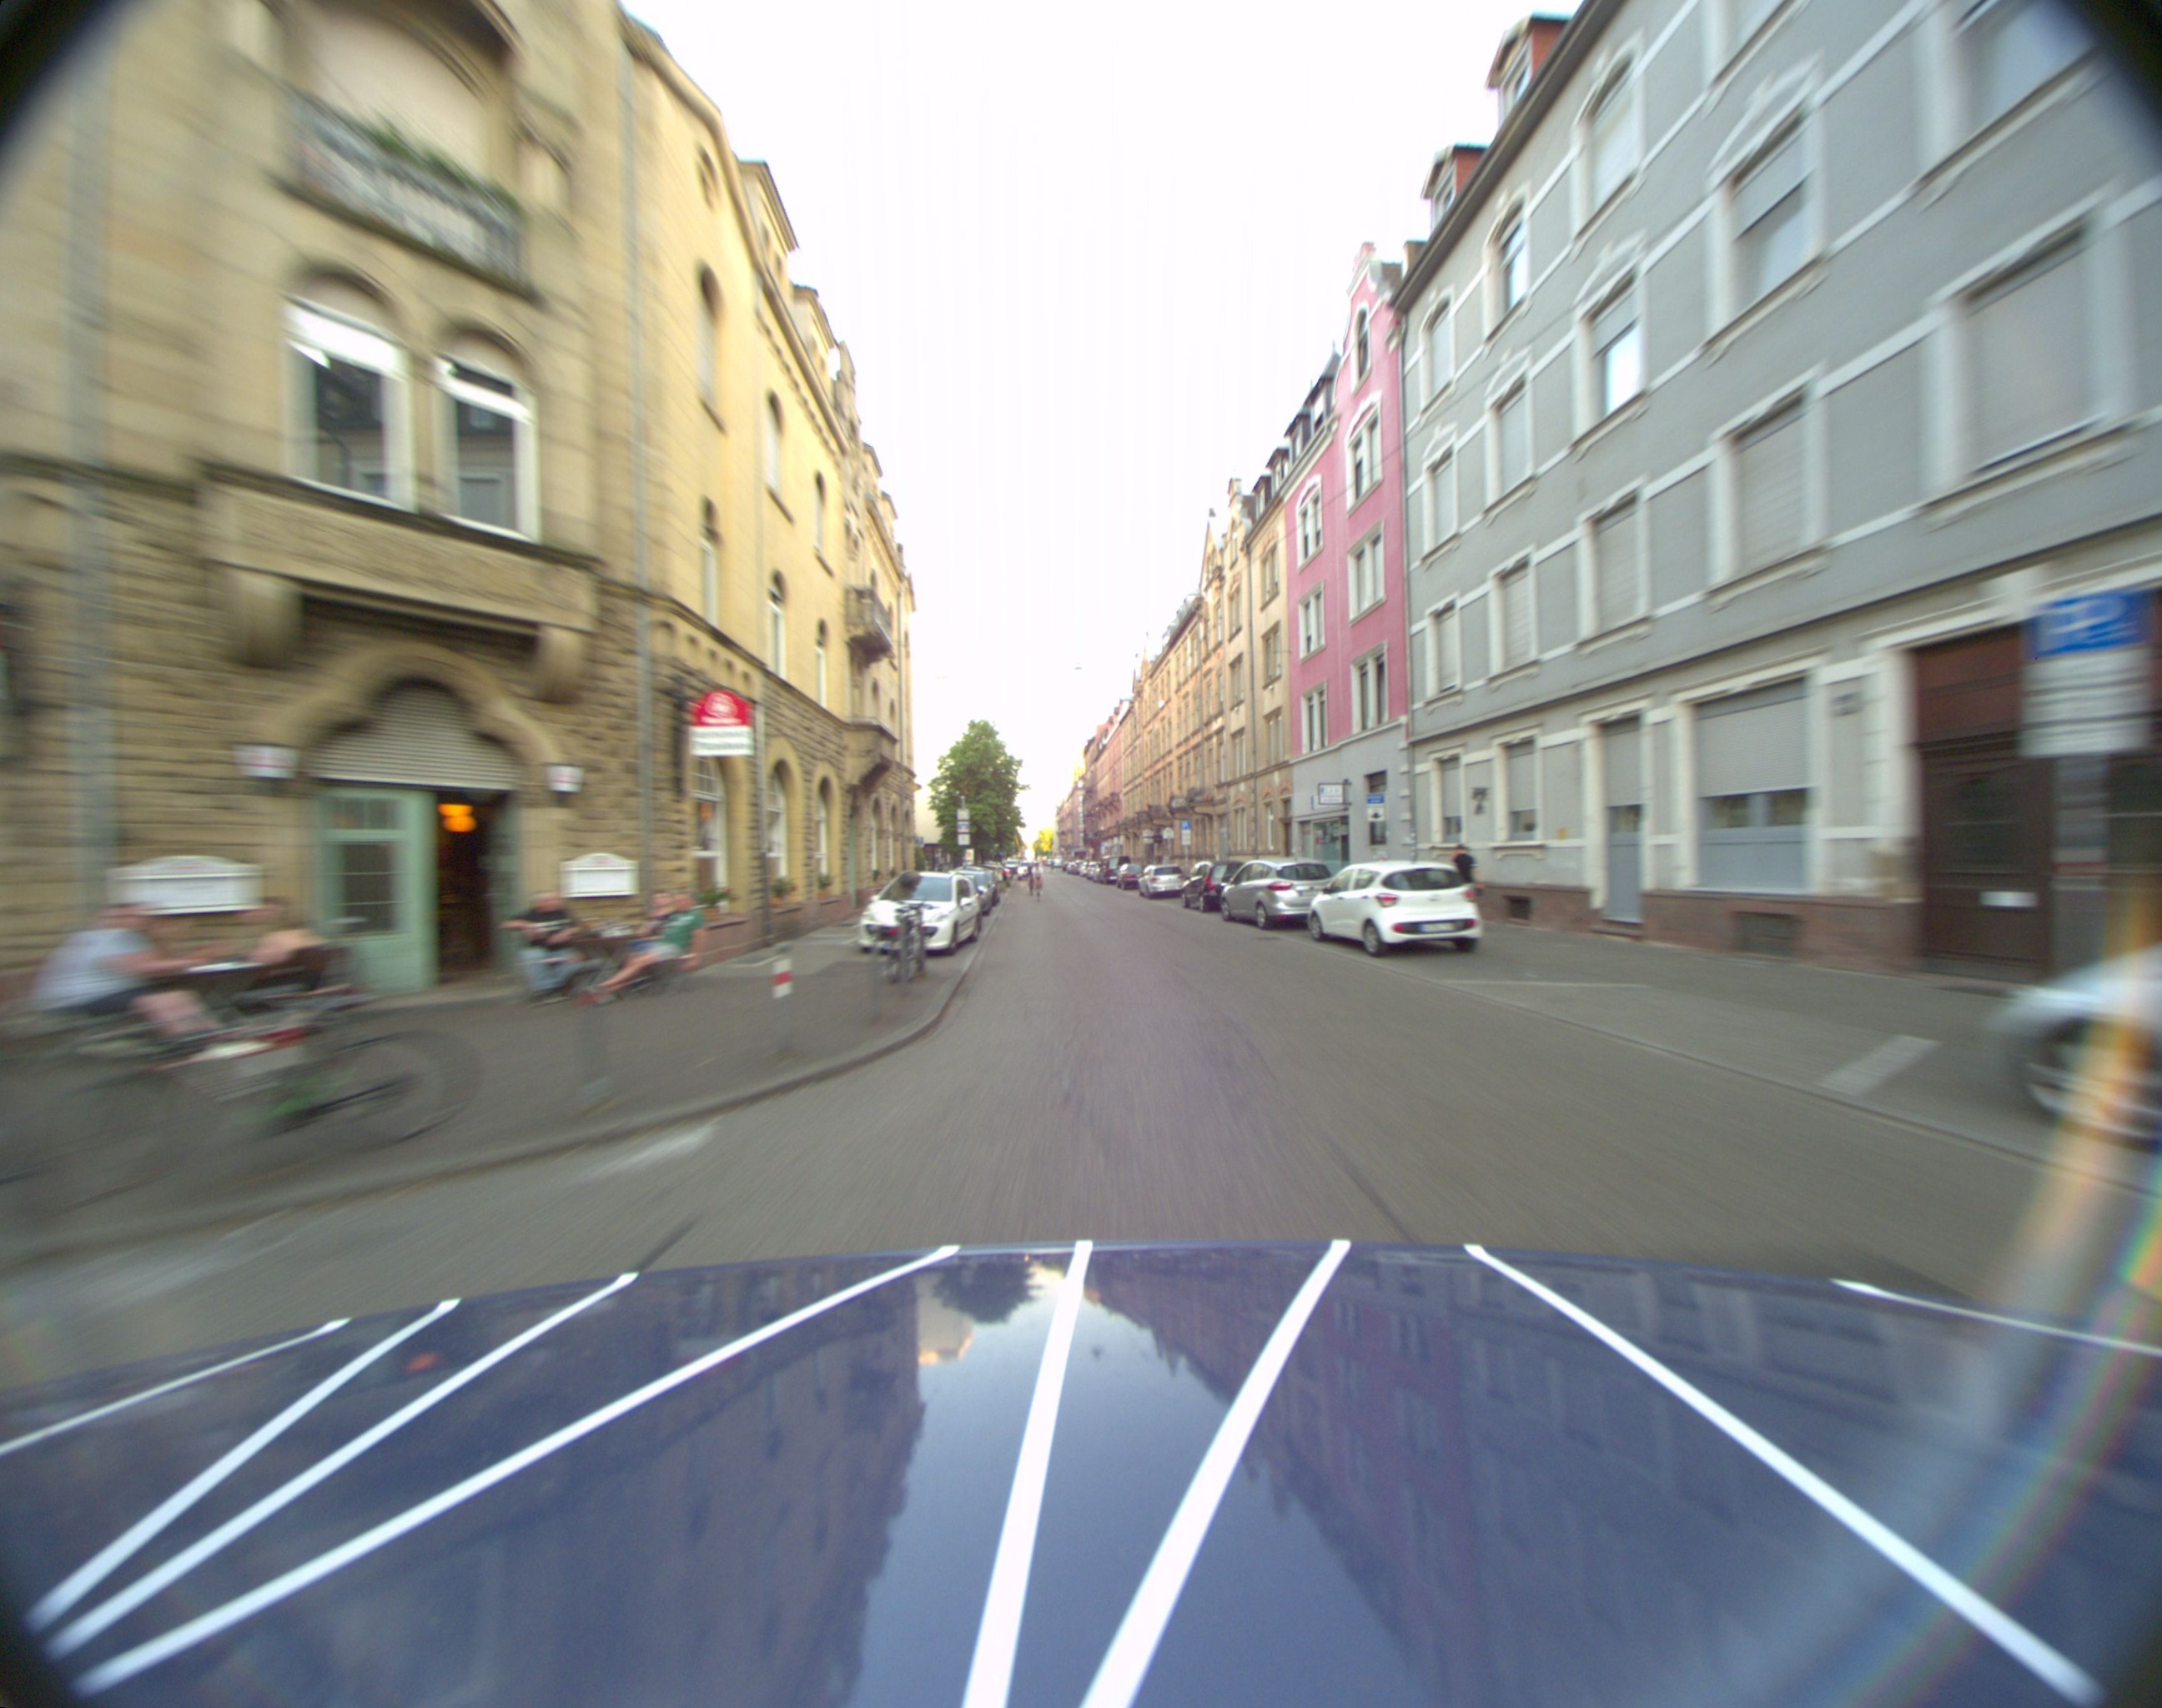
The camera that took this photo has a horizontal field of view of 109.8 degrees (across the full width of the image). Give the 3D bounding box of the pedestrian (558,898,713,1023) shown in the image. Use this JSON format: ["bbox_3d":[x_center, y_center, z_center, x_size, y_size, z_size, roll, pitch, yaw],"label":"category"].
[{"bbox_3d":[-5.318,1.216,9.106,0.839,1.278,1.422,0,0,44],"label":"pedestrian"}]

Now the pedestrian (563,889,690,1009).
[{"bbox_3d":[-5.818,1.169,9.759,0.839,1.388,1.106,0,-1,28],"label":"pedestrian"}]

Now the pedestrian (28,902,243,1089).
[{"bbox_3d":[-8.393,1.182,6.784,0.839,1.389,1.106,0,2,37],"label":"pedestrian"}]

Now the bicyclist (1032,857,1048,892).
[{"bbox_3d":[-1.831,0.912,33.966,0.686,1.503,0.973,-1,0,-4],"label":"bicyclist"}]

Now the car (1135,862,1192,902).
[{"bbox_3d":[3.641,1.210,34.151,1.758,1.466,4.056,-7,0,-3],"label":"car"}]

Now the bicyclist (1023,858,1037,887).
[{"bbox_3d":[-2.702,0.951,40.214,0.686,1.503,0.973,-1,0,-4],"label":"bicyclist"}]

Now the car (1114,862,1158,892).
[{"bbox_3d":[3.068,1.265,43.204,1.758,1.466,4.278,-7,0,-4],"label":"car"}]

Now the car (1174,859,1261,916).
[{"bbox_3d":[4.338,1.015,24.759,1.758,1.583,4.056,-3,0,-4],"label":"car"}]

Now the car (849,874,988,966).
[{"bbox_3d":[-3.073,1.190,15.304,1.768,1.475,4.464,1,-1,0],"label":"car"}]

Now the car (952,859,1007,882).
[{"bbox_3d":[-8.216,1.329,61.870,4.303,1.666,1.822,-1,0,-4],"label":"car"}]

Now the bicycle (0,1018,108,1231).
[{"bbox_3d":[-5.686,1.393,3.344,0.447,0.974,1.707,-1,0,9],"label":"bicycle"}]

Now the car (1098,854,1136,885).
[{"bbox_3d":[2.434,1.058,52.741,1.875,1.949,4.291,-4,0,-5],"label":"car"}]

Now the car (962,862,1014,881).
[{"bbox_3d":[-7.879,1.476,64.717,4.303,1.527,1.822,-1,0,-4],"label":"car"}]

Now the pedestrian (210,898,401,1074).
[{"bbox_3d":[-7.250,1.162,7.132,0.839,1.389,1.106,0,2,37],"label":"pedestrian"}]

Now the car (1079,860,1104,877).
[{"bbox_3d":[0.999,1.433,74.493,1.758,1.426,4.055,-7,0,-7],"label":"car"}]

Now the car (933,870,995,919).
[{"bbox_3d":[-3.872,1.297,25.798,1.769,1.475,4.555,0,-1,-5],"label":"car"}]

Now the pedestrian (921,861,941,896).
[{"bbox_3d":[-7.696,1.242,39.022,0.851,1.756,0.833,0,0,0],"label":"pedestrian"}]

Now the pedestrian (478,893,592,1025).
[{"bbox_3d":[-6.374,1.168,8.873,1.009,1.388,0.899,-1,-2,44],"label":"pedestrian"}]

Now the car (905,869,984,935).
[{"bbox_3d":[-3.487,1.174,20.136,1.769,1.475,4.554,1,-1,-7],"label":"car"}]

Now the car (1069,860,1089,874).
[{"bbox_3d":[-0.271,1.570,90.765,1.758,1.426,4.055,-7,0,-7],"label":"car"}]

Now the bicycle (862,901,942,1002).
[{"bbox_3d":[-2.436,1.285,10.579,0.686,1.144,2.115,2,-1,-3],"label":"bicycle"}]

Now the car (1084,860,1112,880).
[{"bbox_3d":[1.446,1.386,65.455,1.758,1.466,4.055,-7,0,-7],"label":"car"}]

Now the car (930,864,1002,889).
[{"bbox_3d":[-7.199,1.415,47.976,4.303,1.443,1.822,-1,0,-4],"label":"car"}]

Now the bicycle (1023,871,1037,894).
[{"bbox_3d":[-2.683,1.469,40.092,0.686,1.144,2.114,-1,0,-3],"label":"bicycle"}]

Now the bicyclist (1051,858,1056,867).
[{"bbox_3d":[-4.606,1.473,127.910,0.686,1.503,1.036,-1,0,-4],"label":"bicyclist"}]

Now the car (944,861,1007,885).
[{"bbox_3d":[-7.507,1.339,54.168,4.303,1.519,1.822,-1,0,-4],"label":"car"}]

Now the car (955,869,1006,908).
[{"bbox_3d":[-4.125,1.395,31.852,1.768,1.476,4.556,0,0,-3],"label":"car"}]

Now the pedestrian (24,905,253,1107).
[{"bbox_3d":[-7.833,1.185,6.354,0.839,1.389,1.106,0,2,37],"label":"pedestrian"}]

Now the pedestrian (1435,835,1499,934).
[{"bbox_3d":[7.823,0.612,15.427,0.851,1.937,0.833,-1,0,0],"label":"pedestrian"}]

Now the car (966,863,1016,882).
[{"bbox_3d":[-7.923,1.606,67.029,4.303,1.519,1.822,-1,0,-4],"label":"car"}]

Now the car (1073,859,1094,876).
[{"bbox_3d":[0.230,1.483,84.776,1.758,1.663,4.055,-7,0,-7],"label":"car"}]

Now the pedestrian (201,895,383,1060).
[{"bbox_3d":[-7.815,1.155,7.553,0.839,1.389,1.106,0,2,37],"label":"pedestrian"}]

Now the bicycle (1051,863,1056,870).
[{"bbox_3d":[-4.588,2.026,127.745,0.686,1.144,2.114,-1,0,-3],"label":"bicycle"}]

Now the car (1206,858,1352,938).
[{"bbox_3d":[4.623,0.964,18.548,1.838,1.583,4.670,-3,0,-6],"label":"car"}]

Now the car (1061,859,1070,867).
[{"bbox_3d":[-3.249,1.824,158.655,1.758,1.426,4.056,-7,0,-3],"label":"car"}]

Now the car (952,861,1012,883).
[{"bbox_3d":[-7.300,1.332,56.583,4.303,1.519,1.822,-1,0,-4],"label":"car"}]

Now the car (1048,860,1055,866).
[{"bbox_3d":[-7.917,2.325,206.040,1.758,1.426,4.056,-7,0,-3],"label":"car"}]

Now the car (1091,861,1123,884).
[{"bbox_3d":[1.938,1.396,57.875,1.758,1.466,4.055,-7,0,-7],"label":"car"}]

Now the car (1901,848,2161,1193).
[{"bbox_3d":[6.120,0.787,2.692,1.805,1.583,4.144,-3,0,-2],"label":"car"}]

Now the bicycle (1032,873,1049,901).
[{"bbox_3d":[-1.818,1.465,33.934,0.686,1.144,2.114,-1,0,-3],"label":"bicycle"}]

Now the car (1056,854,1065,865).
[{"bbox_3d":[-4.549,1.273,168.150,1.758,2.264,4.056,-7,0,-3],"label":"car"}]

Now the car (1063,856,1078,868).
[{"bbox_3d":[-1.519,1.179,110.931,1.758,1.426,4.056,-7,0,-4],"label":"car"}]

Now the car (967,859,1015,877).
[{"bbox_3d":[-8.199,1.291,69.486,4.303,1.519,1.822,-1,0,-4],"label":"car"}]

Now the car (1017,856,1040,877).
[{"bbox_3d":[-4.935,1.162,71.246,1.958,1.729,4.283,-4,0,-4],"label":"car"}]

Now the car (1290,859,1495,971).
[{"bbox_3d":[5.242,0.936,13.418,1.758,1.566,3.926,-3,0,-3],"label":"car"}]

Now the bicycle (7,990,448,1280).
[{"bbox_3d":[-4.367,1.367,4.042,1.478,1.033,0.431,-1,1,-45],"label":"bicycle"}]
